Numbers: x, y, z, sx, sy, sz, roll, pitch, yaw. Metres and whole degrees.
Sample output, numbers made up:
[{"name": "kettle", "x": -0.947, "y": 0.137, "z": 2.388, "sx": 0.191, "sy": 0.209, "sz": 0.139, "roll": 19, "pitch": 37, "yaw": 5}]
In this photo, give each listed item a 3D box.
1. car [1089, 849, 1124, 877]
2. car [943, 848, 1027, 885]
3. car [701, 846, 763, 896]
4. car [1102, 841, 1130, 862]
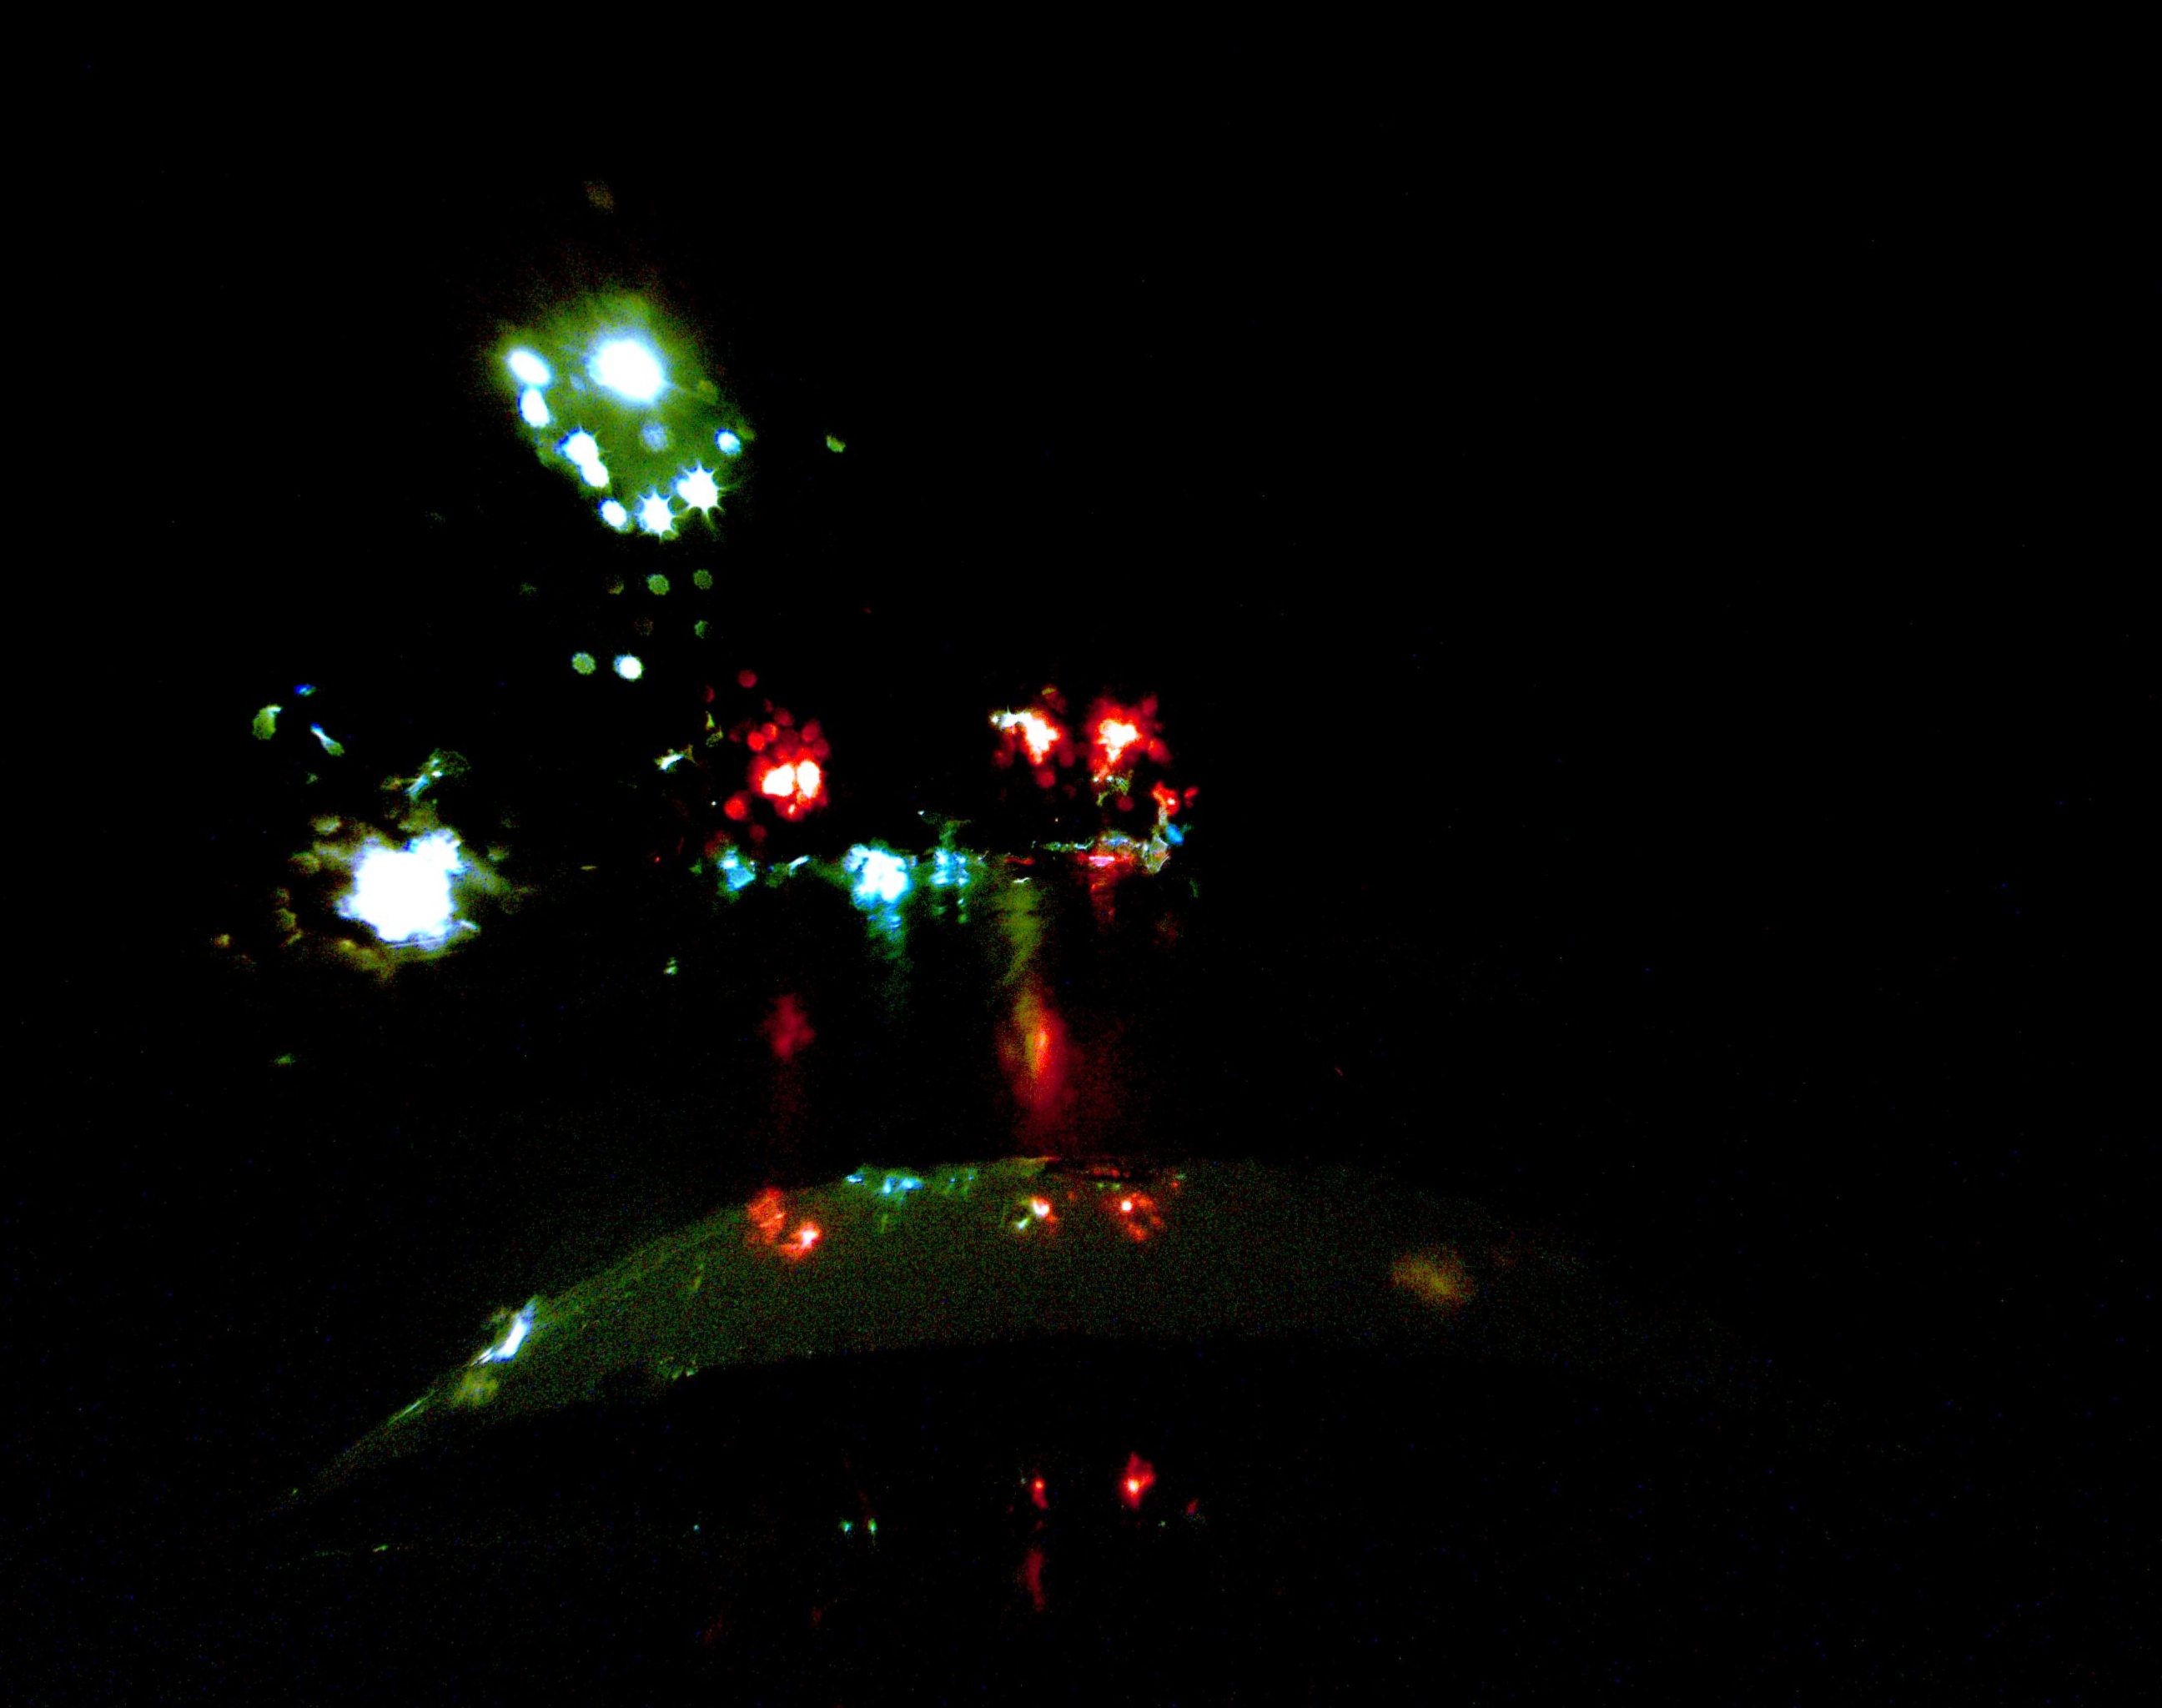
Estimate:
[{"name": "car", "x": 1.636, "y": 0.528, "z": 51.369, "sx": 1.985, "sy": 1.662, "sz": 4.004, "roll": -2, "pitch": 0, "yaw": 4}, {"name": "car", "x": -4.697, "y": 0.587, "z": 40.364, "sx": 3.978, "sy": 1.662, "sz": 1.998, "roll": -2, "pitch": 0, "yaw": -3}, {"name": "car", "x": -15.374, "y": 0.711, "z": 36.106, "sx": 1.998, "sy": 2.013, "sz": 3.977, "roll": -2, "pitch": 0, "yaw": -17}, {"name": "car", "x": 2.549, "y": -0.208, "z": 60.530, "sx": 1.955, "sy": 1.428, "sz": 3.933, "roll": -2, "pitch": 0, "yaw": 1}]
